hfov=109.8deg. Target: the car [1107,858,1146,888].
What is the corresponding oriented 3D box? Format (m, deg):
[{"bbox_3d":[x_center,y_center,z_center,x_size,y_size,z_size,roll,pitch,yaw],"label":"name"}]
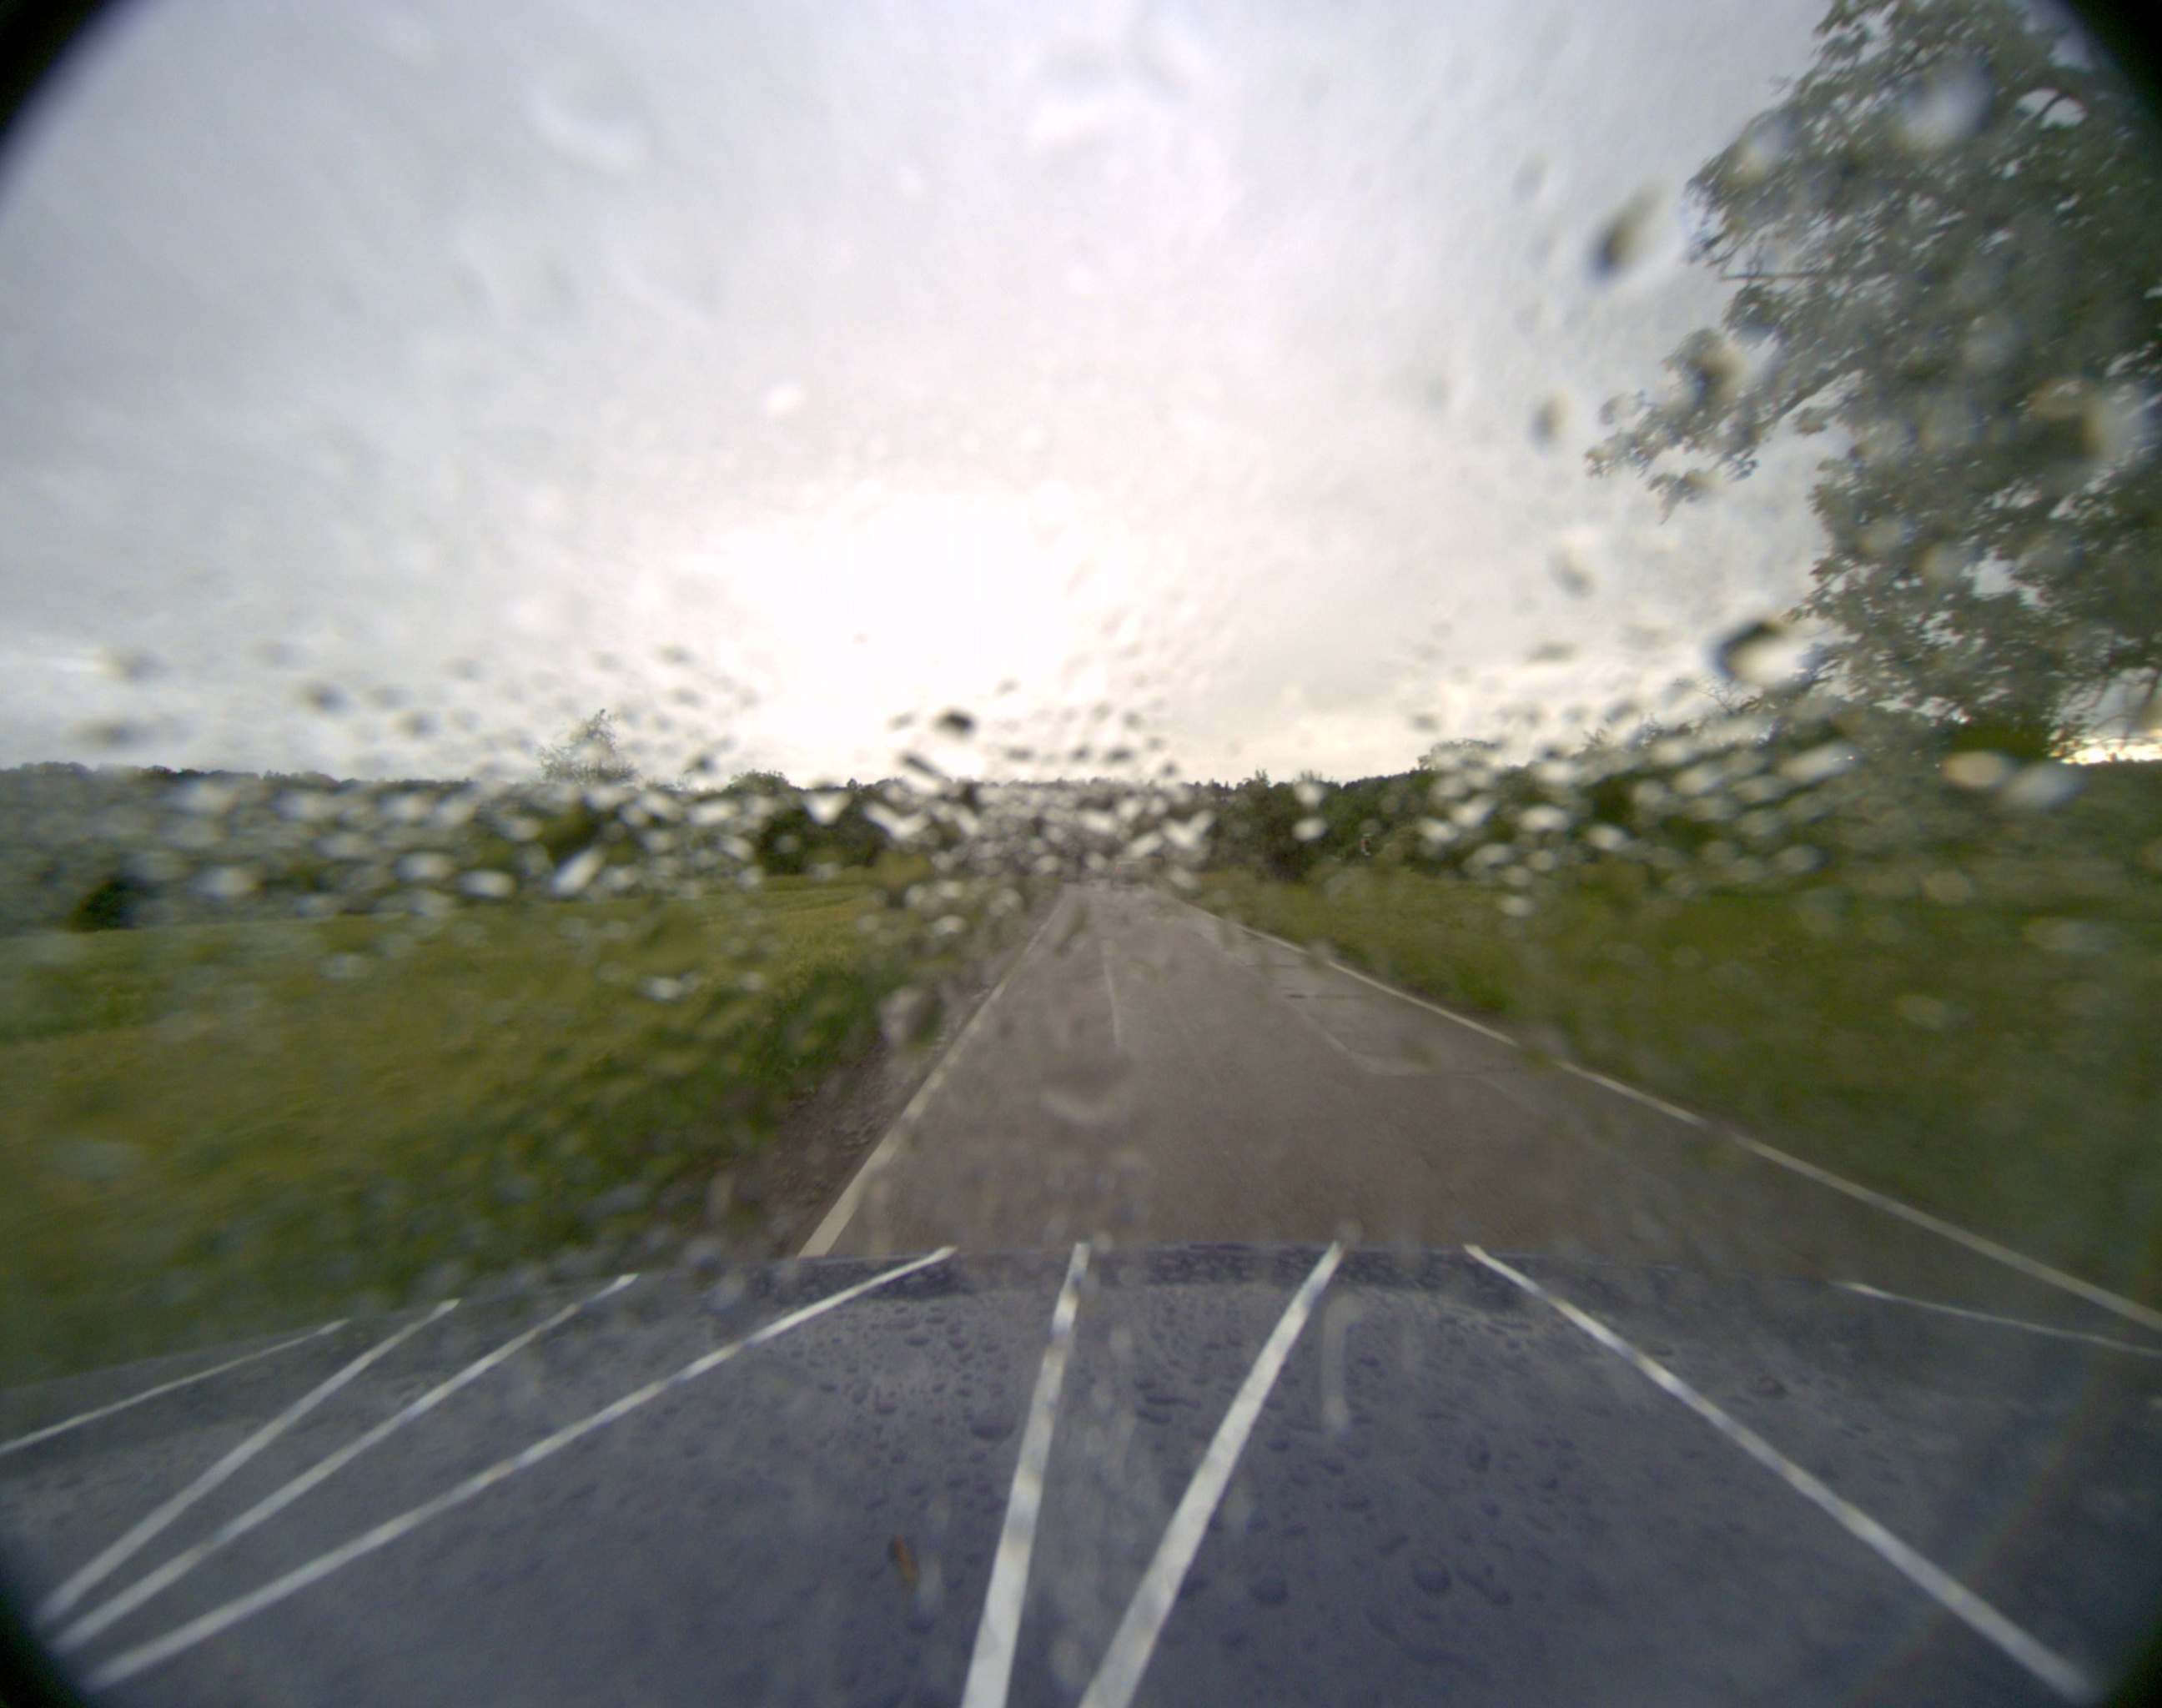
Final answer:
[{"bbox_3d":[2.474,1.014,42.317,1.744,1.463,4.121,-2,1,-1],"label":"car"}]
